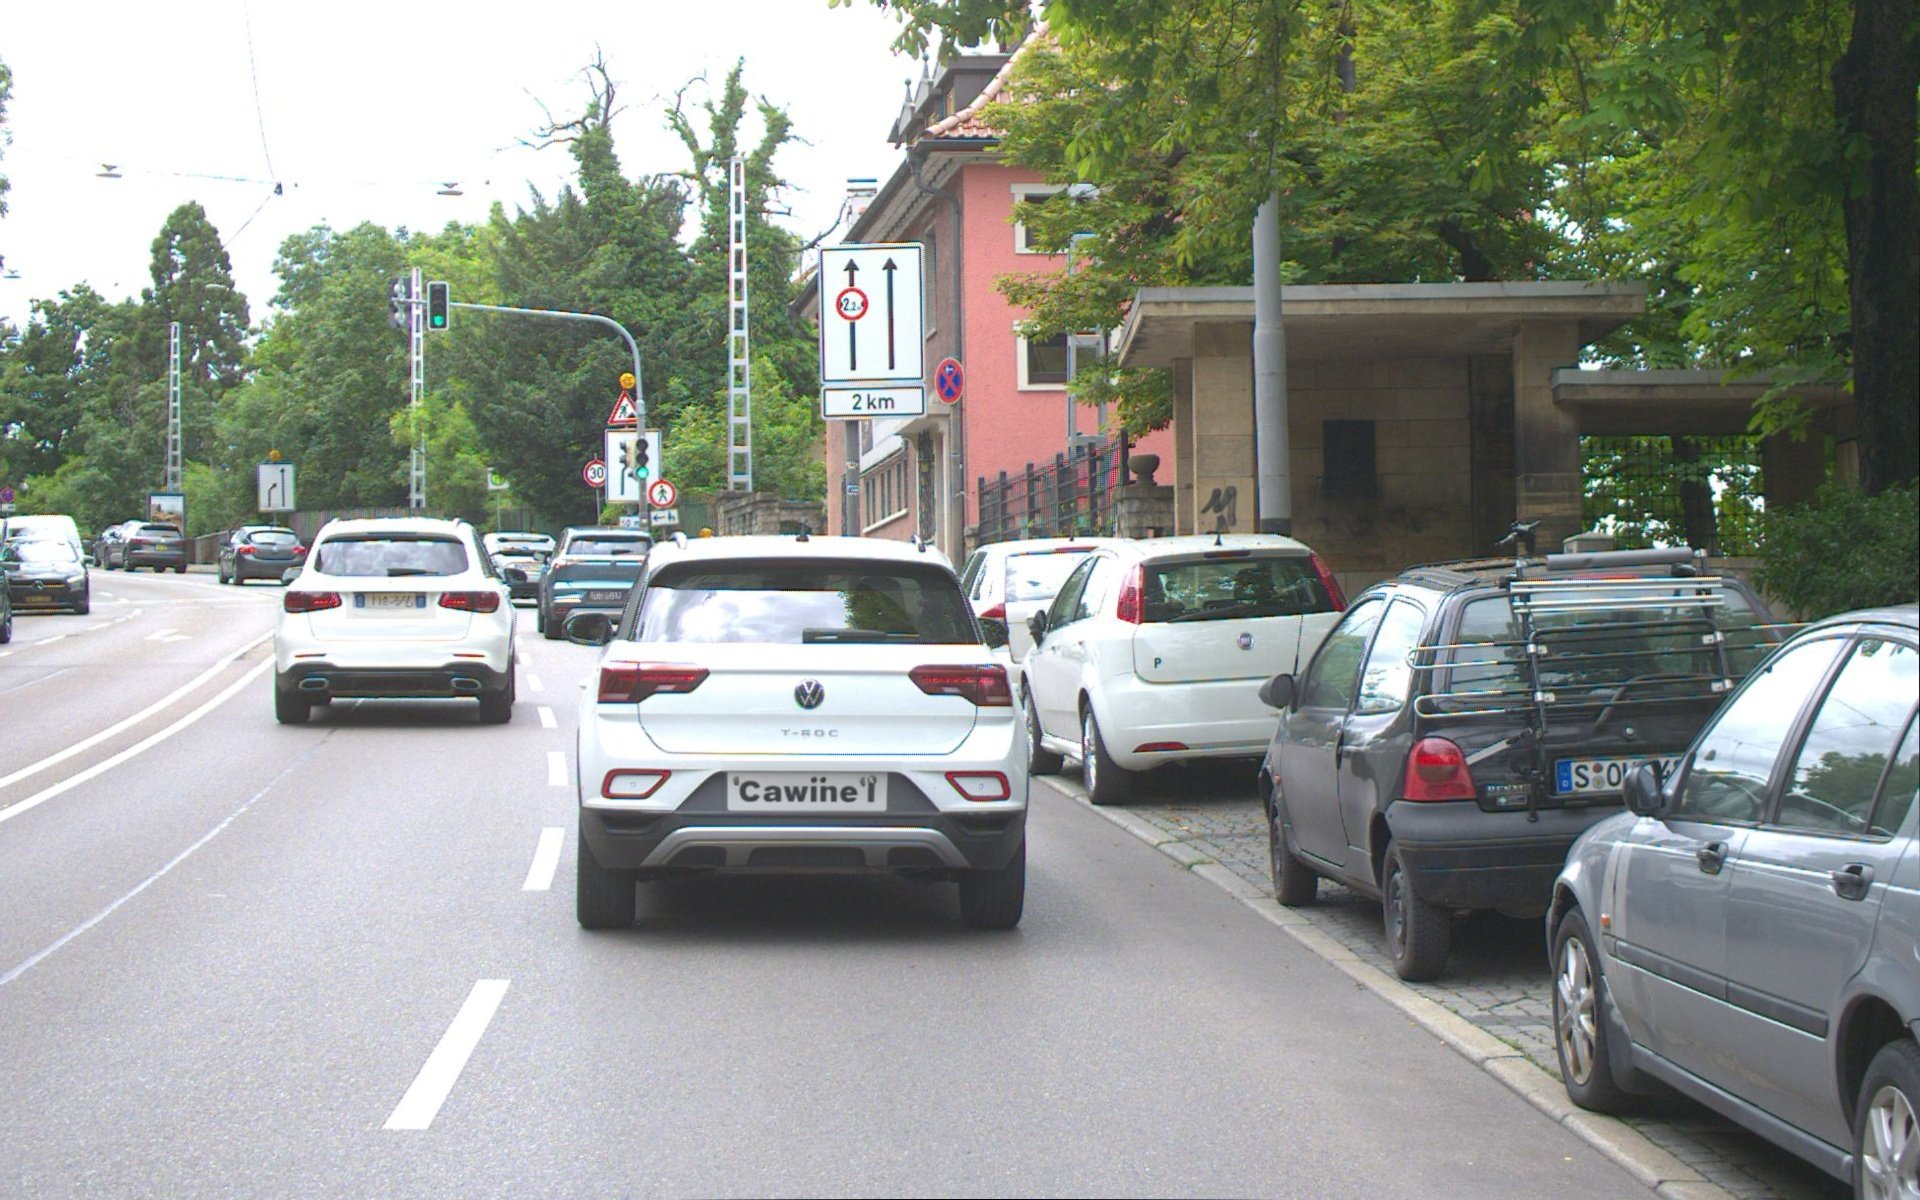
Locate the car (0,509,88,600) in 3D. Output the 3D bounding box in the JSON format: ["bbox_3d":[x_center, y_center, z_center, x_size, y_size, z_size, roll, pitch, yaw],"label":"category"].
[{"bbox_3d":[-20.608,-0.989,77.140,1.892,1.842,4.397,1,-2,-13],"label":"car"}]

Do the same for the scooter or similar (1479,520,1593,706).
[{"bbox_3d":[4.068,0.076,24.338,0.516,1.256,1.168,-3,1,-2],"label":"scooter or similar"}]

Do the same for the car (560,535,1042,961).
[{"bbox_3d":[-0.765,0.543,14.690,1.757,1.550,3.796,1,0,-5],"label":"car"}]

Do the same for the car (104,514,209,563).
[{"bbox_3d":[-26.465,-2.006,113.157,1.994,1.570,4.150,0,0,-35],"label":"car"}]

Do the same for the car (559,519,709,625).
[{"bbox_3d":[-4.545,-0.398,48.451,1.993,1.409,4.151,-1,0,-4],"label":"car"}]

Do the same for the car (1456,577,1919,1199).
[{"bbox_3d":[2.461,0.667,7.847,1.770,1.394,4.552,-2,1,-3],"label":"car"}]

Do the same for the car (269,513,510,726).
[{"bbox_3d":[-4.652,0.142,28.441,1.757,1.604,3.796,1,0,-7],"label":"car"}]

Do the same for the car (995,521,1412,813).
[{"bbox_3d":[1.358,0.318,20.803,1.715,1.466,4.039,-4,2,-7],"label":"car"}]

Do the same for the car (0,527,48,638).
[{"bbox_3d":[-13.187,-0.227,44.701,1.842,1.404,4.457,-1,1,-6],"label":"car"}]

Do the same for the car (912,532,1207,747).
[{"bbox_3d":[0.675,0.233,26.369,1.675,1.456,4.366,-2,1,-6],"label":"car"}]

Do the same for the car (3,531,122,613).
[{"bbox_3d":[-16.322,-0.527,62.673,1.562,1.397,4.255,-2,1,-8],"label":"car"}]

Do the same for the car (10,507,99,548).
[{"bbox_3d":[-33.095,-2.622,125.581,1.993,1.445,4.150,0,0,-33],"label":"car"}]

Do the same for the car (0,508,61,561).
[{"bbox_3d":[-29.378,-2.076,108.282,1.848,1.626,4.363,0,1,-12],"label":"car"}]

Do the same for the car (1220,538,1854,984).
[{"bbox_3d":[2.086,0.517,13.330,1.561,1.417,3.425,-3,1,-5],"label":"car"}]

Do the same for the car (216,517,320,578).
[{"bbox_3d":[-17.132,-1.296,84.981,1.780,1.449,4.001,0,1,-22],"label":"car"}]

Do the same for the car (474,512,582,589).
[{"bbox_3d":[-8.325,-0.939,66.482,1.993,1.445,4.151,0,0,-6],"label":"car"}]
